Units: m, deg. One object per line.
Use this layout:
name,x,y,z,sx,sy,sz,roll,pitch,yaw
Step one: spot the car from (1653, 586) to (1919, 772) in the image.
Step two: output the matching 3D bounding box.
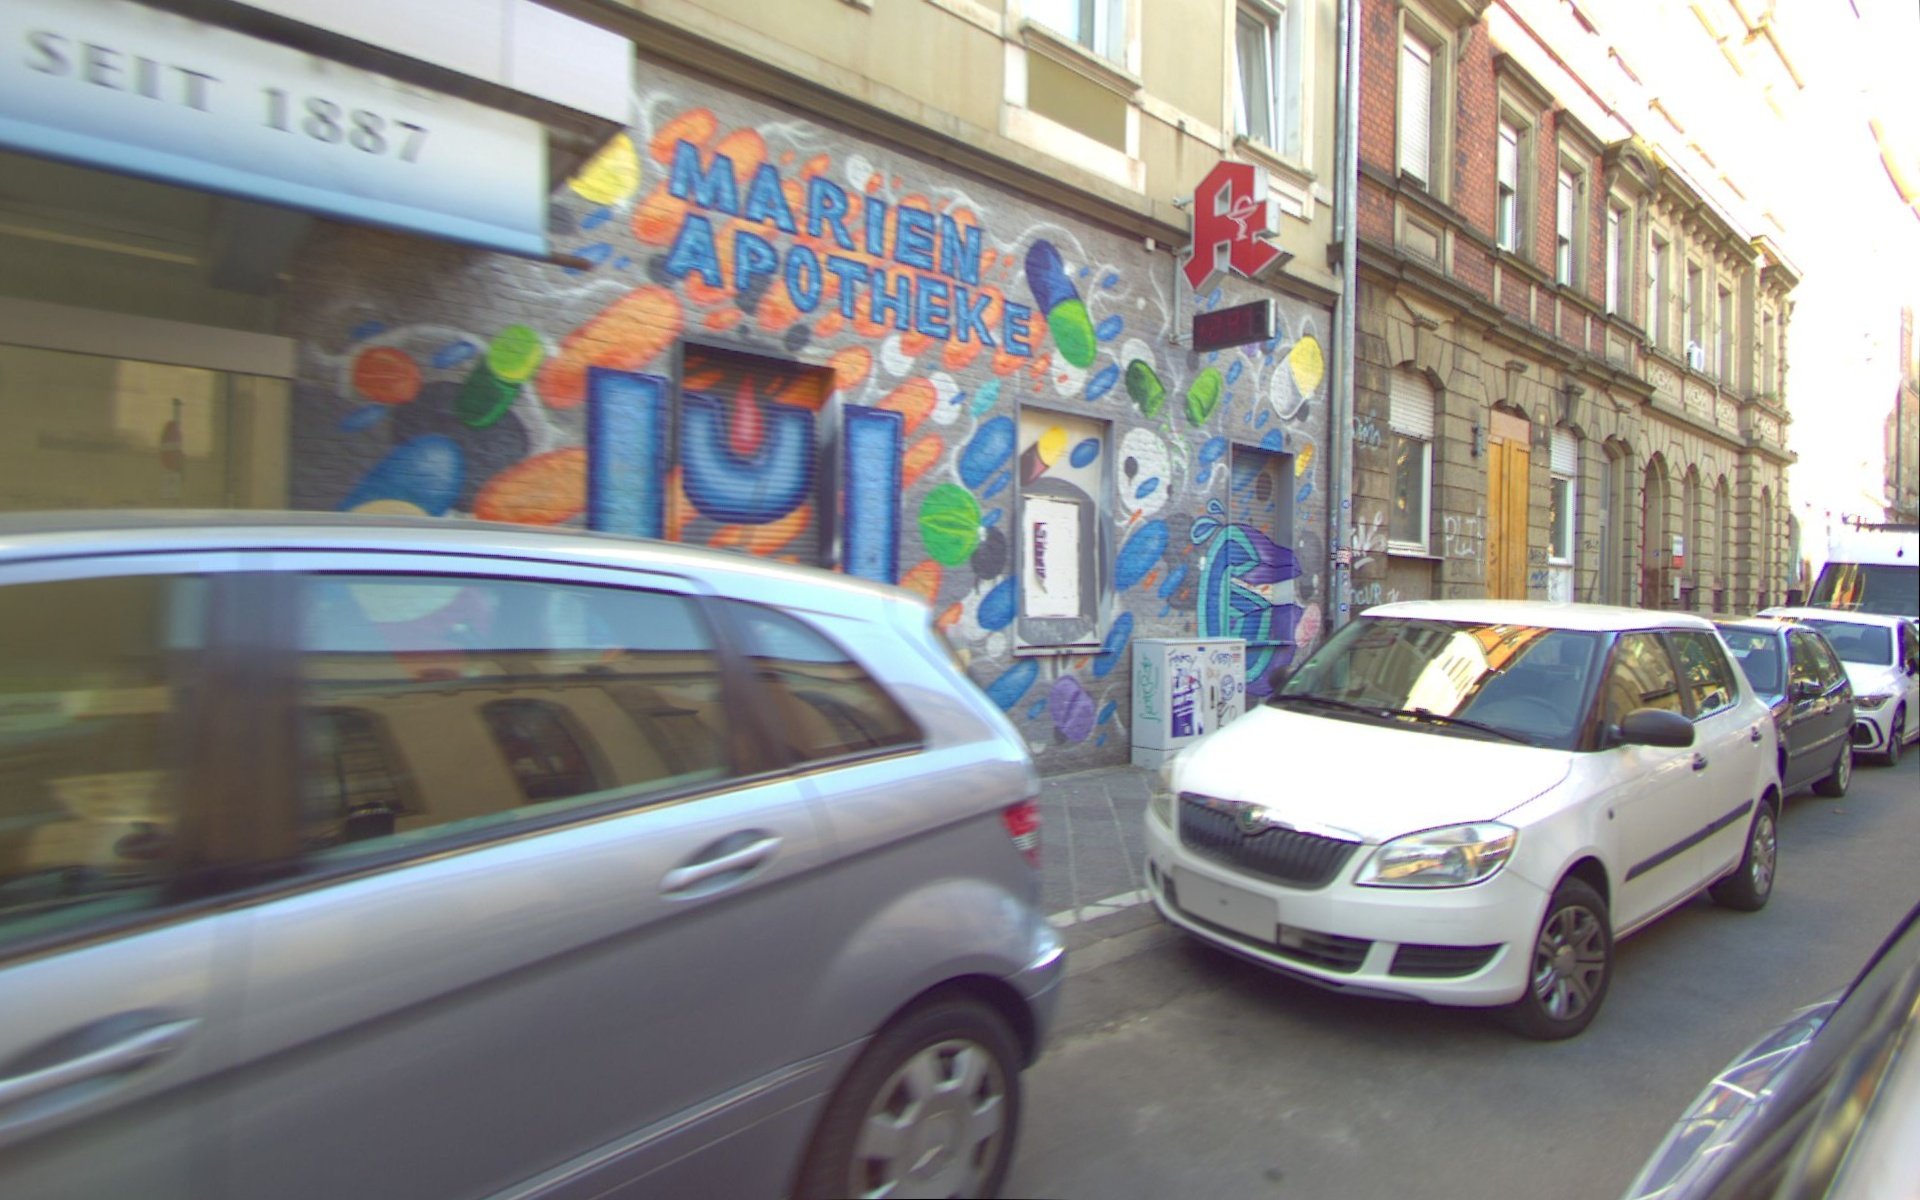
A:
car,9.607,0.682,11.275,4.483,1.667,1.997,-1,0,-40

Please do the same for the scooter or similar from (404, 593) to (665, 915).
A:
scooter or similar,-1.901,0.619,4.579,1.018,1.296,0.395,0,0,-41

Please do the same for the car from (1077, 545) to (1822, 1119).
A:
car,2.527,0.605,4.666,4.126,1.546,1.557,-1,0,-40

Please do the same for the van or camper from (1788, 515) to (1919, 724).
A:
van or camper,14.294,0.221,15.082,5.873,2.665,1.997,-1,0,-40

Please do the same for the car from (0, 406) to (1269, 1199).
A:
car,-1.452,0.623,1.908,4.407,1.671,1.803,-1,0,-40

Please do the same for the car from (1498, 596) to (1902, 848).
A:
car,5.932,0.734,7.961,3.841,1.505,1.590,-1,0,-38
